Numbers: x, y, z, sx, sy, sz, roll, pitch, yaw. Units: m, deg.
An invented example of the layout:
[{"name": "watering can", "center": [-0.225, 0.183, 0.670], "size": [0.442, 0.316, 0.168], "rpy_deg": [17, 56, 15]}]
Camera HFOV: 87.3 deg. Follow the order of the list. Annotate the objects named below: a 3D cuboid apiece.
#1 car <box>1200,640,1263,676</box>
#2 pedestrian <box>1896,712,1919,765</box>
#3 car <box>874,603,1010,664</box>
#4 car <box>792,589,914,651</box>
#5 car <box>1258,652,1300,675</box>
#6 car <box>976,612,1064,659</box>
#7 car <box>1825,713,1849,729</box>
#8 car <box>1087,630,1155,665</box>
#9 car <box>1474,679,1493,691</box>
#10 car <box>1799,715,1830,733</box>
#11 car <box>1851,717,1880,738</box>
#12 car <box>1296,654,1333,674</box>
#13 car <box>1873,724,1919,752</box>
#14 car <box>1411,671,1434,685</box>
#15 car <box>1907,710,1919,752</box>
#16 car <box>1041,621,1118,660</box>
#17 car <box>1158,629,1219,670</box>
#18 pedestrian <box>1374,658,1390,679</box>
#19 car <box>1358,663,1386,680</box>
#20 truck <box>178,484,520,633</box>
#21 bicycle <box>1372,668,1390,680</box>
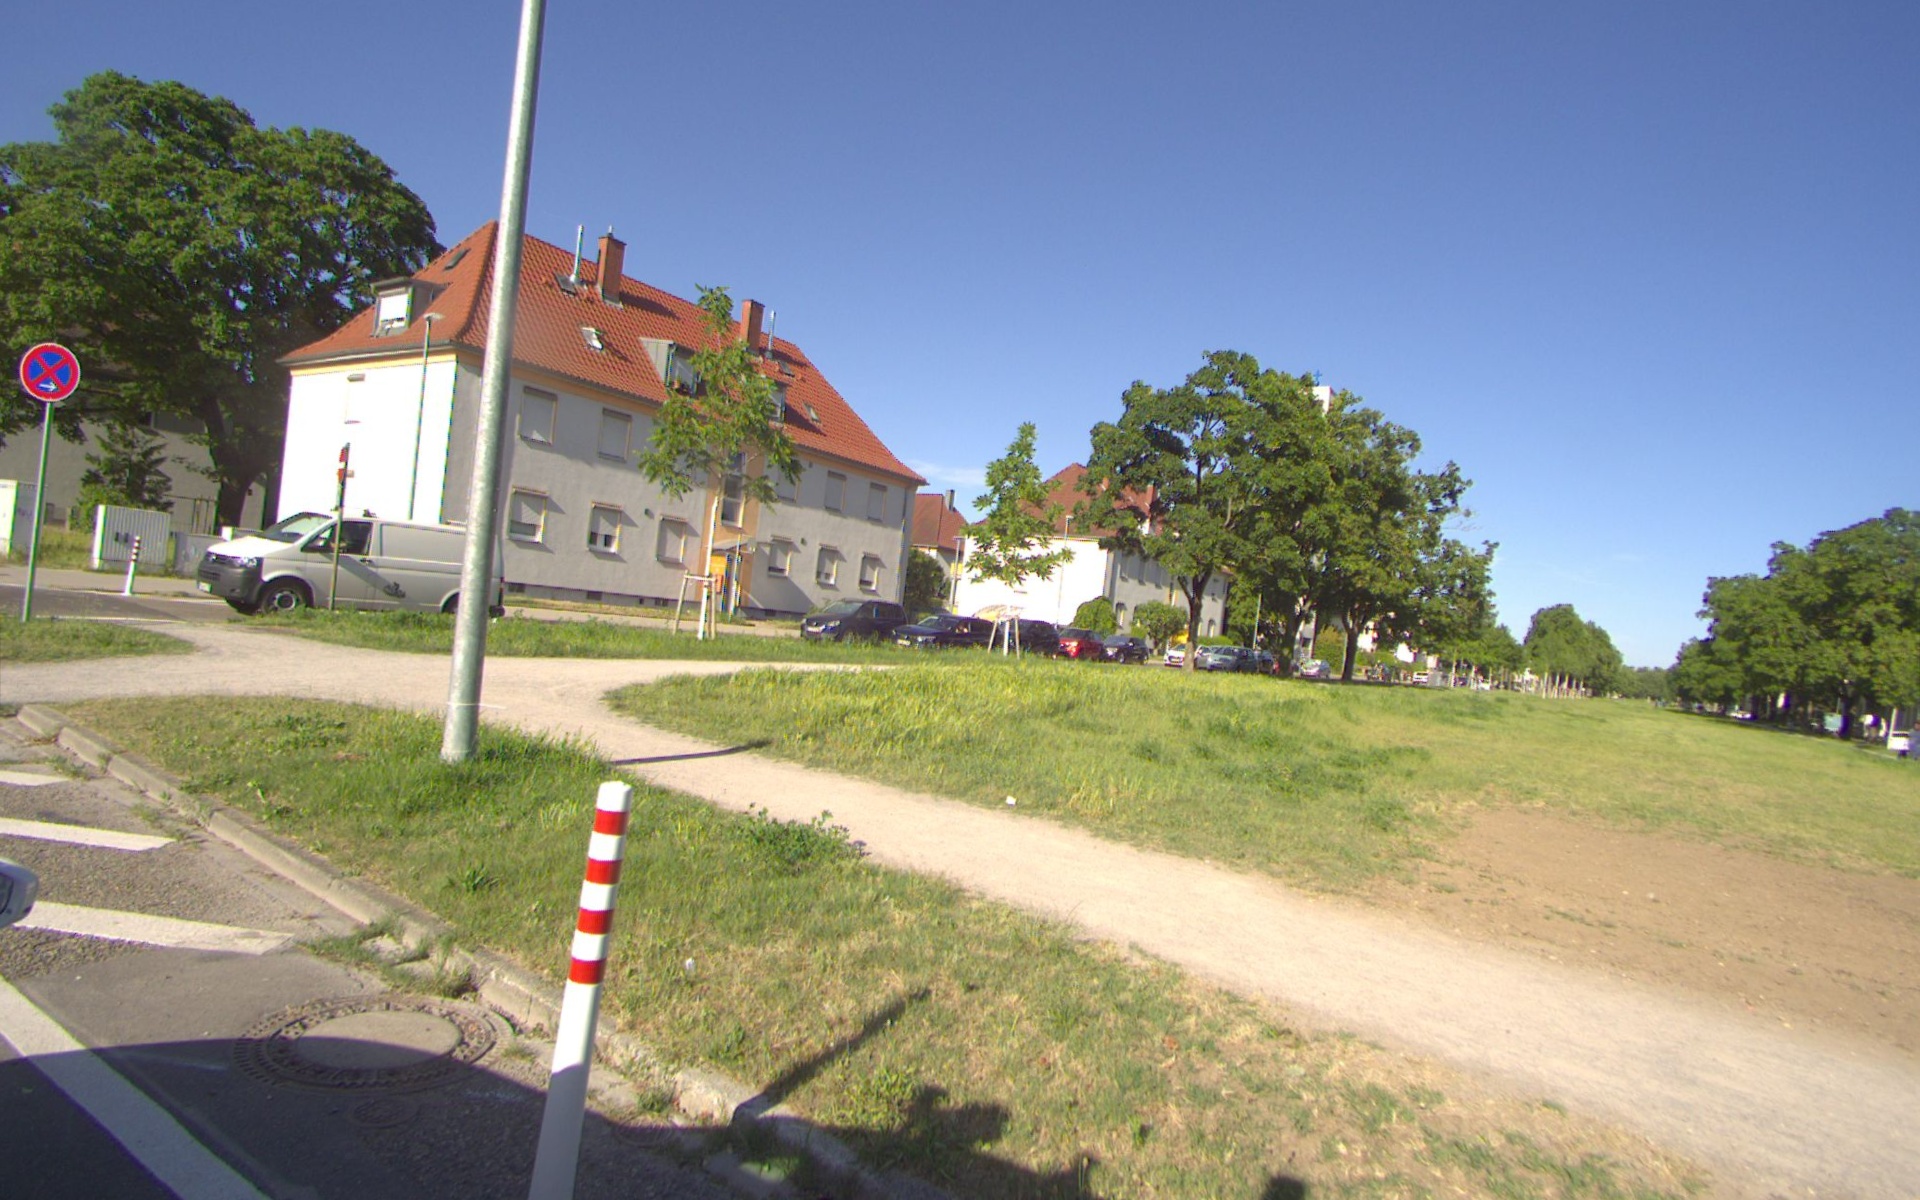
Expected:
[{"name": "car", "center": [14.894, 3.208, 55.103], "size": [1.859, 1.628, 4.234], "rpy_deg": [7, 0, 35]}, {"name": "pedestrian", "center": [35.710, 5.195, 37.676], "size": [0.713, 1.900, 0.627], "rpy_deg": [7, 1, 34]}, {"name": "car", "center": [-0.490, 1.150, 32.783], "size": [1.968, 1.543, 4.743], "rpy_deg": [7, -1, 34]}, {"name": "car", "center": [-3.543, 0.722, 33.932], "size": [1.695, 1.684, 4.052], "rpy_deg": [7, 0, 35]}, {"name": "car", "center": [23.064, 4.589, 72.742], "size": [1.695, 1.358, 3.798], "rpy_deg": [7, 0, 35]}, {"name": "car", "center": [2.616, 1.551, 42.778], "size": [1.695, 1.602, 4.128], "rpy_deg": [7, 0, 35]}, {"name": "car", "center": [117.325, 16.180, 134.576], "size": [1.837, 1.868, 3.981], "rpy_deg": [7, 0, 36]}, {"name": "car", "center": [8.278, 2.450, 51.419], "size": [1.695, 1.459, 4.128], "rpy_deg": [7, 0, 35]}, {"name": "car", "center": [71.194, 11.527, 136.771], "size": [1.695, 1.358, 3.798], "rpy_deg": [7, 0, 35]}, {"name": "car", "center": [90.906, 13.125, 107.040], "size": [2.049, 1.484, 4.712], "rpy_deg": [7, 0, 36]}, {"name": "car", "center": [100.780, 14.149, 111.992], "size": [1.837, 1.868, 3.981], "rpy_deg": [8, 1, 36]}, {"name": "car", "center": [28.839, 5.231, 81.802], "size": [1.695, 1.358, 3.798], "rpy_deg": [7, 0, 35]}, {"name": "car", "center": [65.290, 9.605, 69.905], "size": [2.049, 1.484, 4.712], "rpy_deg": [7, 0, 36]}, {"name": "car", "center": [54.688, 9.240, 118.913], "size": [1.695, 1.358, 3.798], "rpy_deg": [7, 0, 35]}, {"name": "car", "center": [56.467, 7.688, 57.443], "size": [2.512, 2.362, 5.900], "rpy_deg": [7, 0, 36]}, {"name": "car", "center": [5.693, 1.940, 47.572], "size": [1.695, 1.459, 4.128], "rpy_deg": [7, 0, 35]}, {"name": "car", "center": [13.459, 2.935, 59.002], "size": [1.842, 2.038, 4.243], "rpy_deg": [7, 0, 35]}, {"name": "pedestrian", "center": [37.941, 6.161, 90.430], "size": [1.036, 1.731, 0.691], "rpy_deg": [7, 1, 31]}, {"name": "car", "center": [41.103, 7.124, 100.268], "size": [1.695, 1.358, 3.797], "rpy_deg": [7, 0, 35]}, {"name": "truck", "center": [-10.948, -0.657, 18.419], "size": [1.968, 2.061, 4.860], "rpy_deg": [7, 0, 35]}, {"name": "bicycle", "center": [37.805, 6.670, 90.309], "size": [1.036, 0.949, 2.759], "rpy_deg": [7, 0, 30]}]
